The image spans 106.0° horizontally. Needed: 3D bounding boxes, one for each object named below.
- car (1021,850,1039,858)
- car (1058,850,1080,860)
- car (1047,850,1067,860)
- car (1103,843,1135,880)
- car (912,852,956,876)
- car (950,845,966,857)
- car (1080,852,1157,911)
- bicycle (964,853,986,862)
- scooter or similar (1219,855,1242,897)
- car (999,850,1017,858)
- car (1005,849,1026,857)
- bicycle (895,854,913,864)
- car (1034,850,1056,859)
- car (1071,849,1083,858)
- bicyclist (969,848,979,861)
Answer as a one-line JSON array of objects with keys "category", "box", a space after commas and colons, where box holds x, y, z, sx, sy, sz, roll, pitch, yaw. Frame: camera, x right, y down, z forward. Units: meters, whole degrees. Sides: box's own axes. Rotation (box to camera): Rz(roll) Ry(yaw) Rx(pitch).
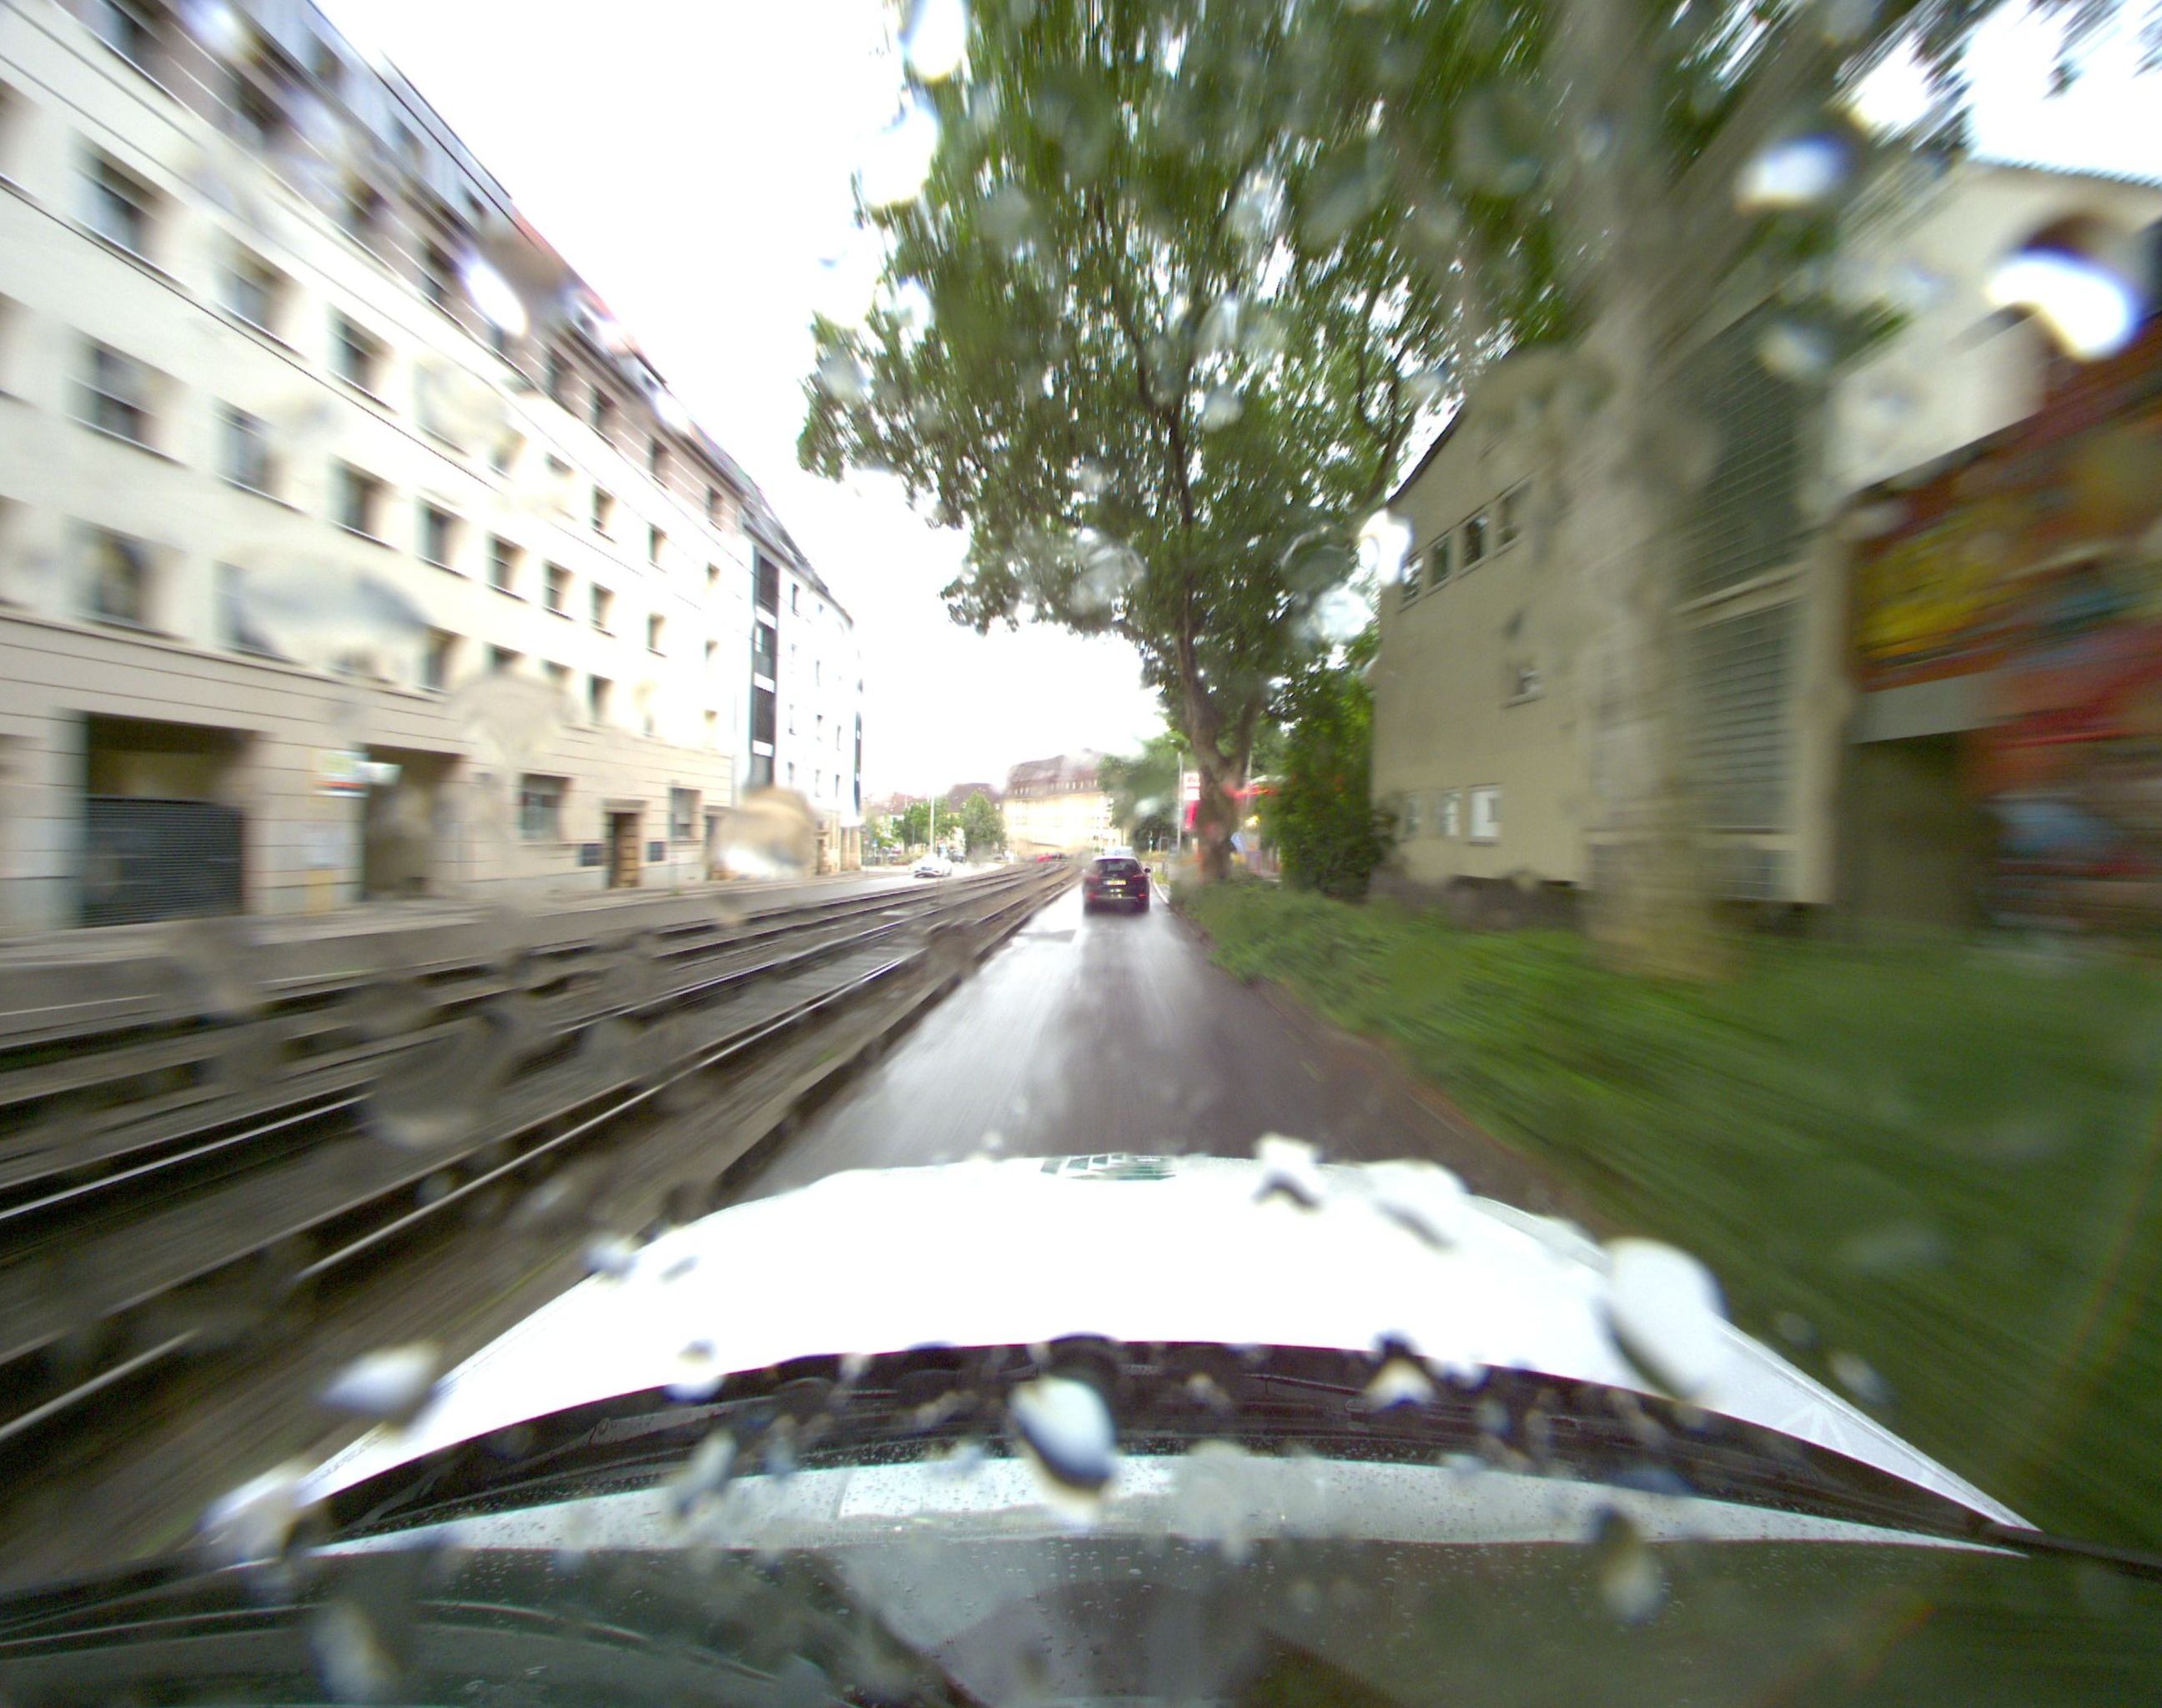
[{"category": "car", "box": [-9.462, -0.042, 151.419, 2.004, 1.542, 3.966, -1, 1, -26]}, {"category": "car", "box": [-2.042, 0.197, 137.304, 2.007, 1.542, 3.959, 1, 0, -33]}, {"category": "car", "box": [-4.199, 0.168, 142.241, 1.592, 1.542, 3.959, 1, 0, -33]}, {"category": "car", "box": [2.195, 0.394, 46.594, 1.733, 2.013, 3.906, 1, 0, 3]}, {"category": "car", "box": [-9.582, 0.655, 53.415, 1.792, 1.482, 4.843, 1, 0, 2]}, {"category": "car", "box": [-15.858, -0.382, 105.033, 1.992, 1.542, 3.989, 1, 0, -8]}, {"category": "car", "box": [0.960, 0.708, 22.927, 1.927, 1.453, 4.317, 2, 0, 0]}, {"category": "bicycle", "box": [-10.800, 0.368, 83.003, 2.114, 0.943, 0.806, 0, 0, -36]}, {"category": "scooter or similar", "box": [4.456, 0.657, 24.281, 0.370, 1.234, 1.378, -1, -2, 23]}, {"category": "car", "box": [-14.283, -0.041, 159.041, 2.007, 1.542, 3.960, 1, 0, -32]}, {"category": "car", "box": [-12.502, -0.147, 155.222, 2.010, 1.542, 3.953, 1, 0, -40]}, {"category": "bicycle", "box": [-19.703, 0.537, 90.561, 1.808, 1.061, 0.570, 1, 0, -2]}, {"category": "car", "box": [-6.504, 0.027, 146.922, 2.008, 1.542, 3.957, 1, 0, -35]}, {"category": "car", "box": [-0.668, -0.045, 133.594, 1.656, 1.476, 3.634, 1, 0, -7]}, {"category": "bicyclist", "box": [-10.907, 0.025, 82.971, 0.777, 1.313, 0.782, -1, 0, -36]}]
